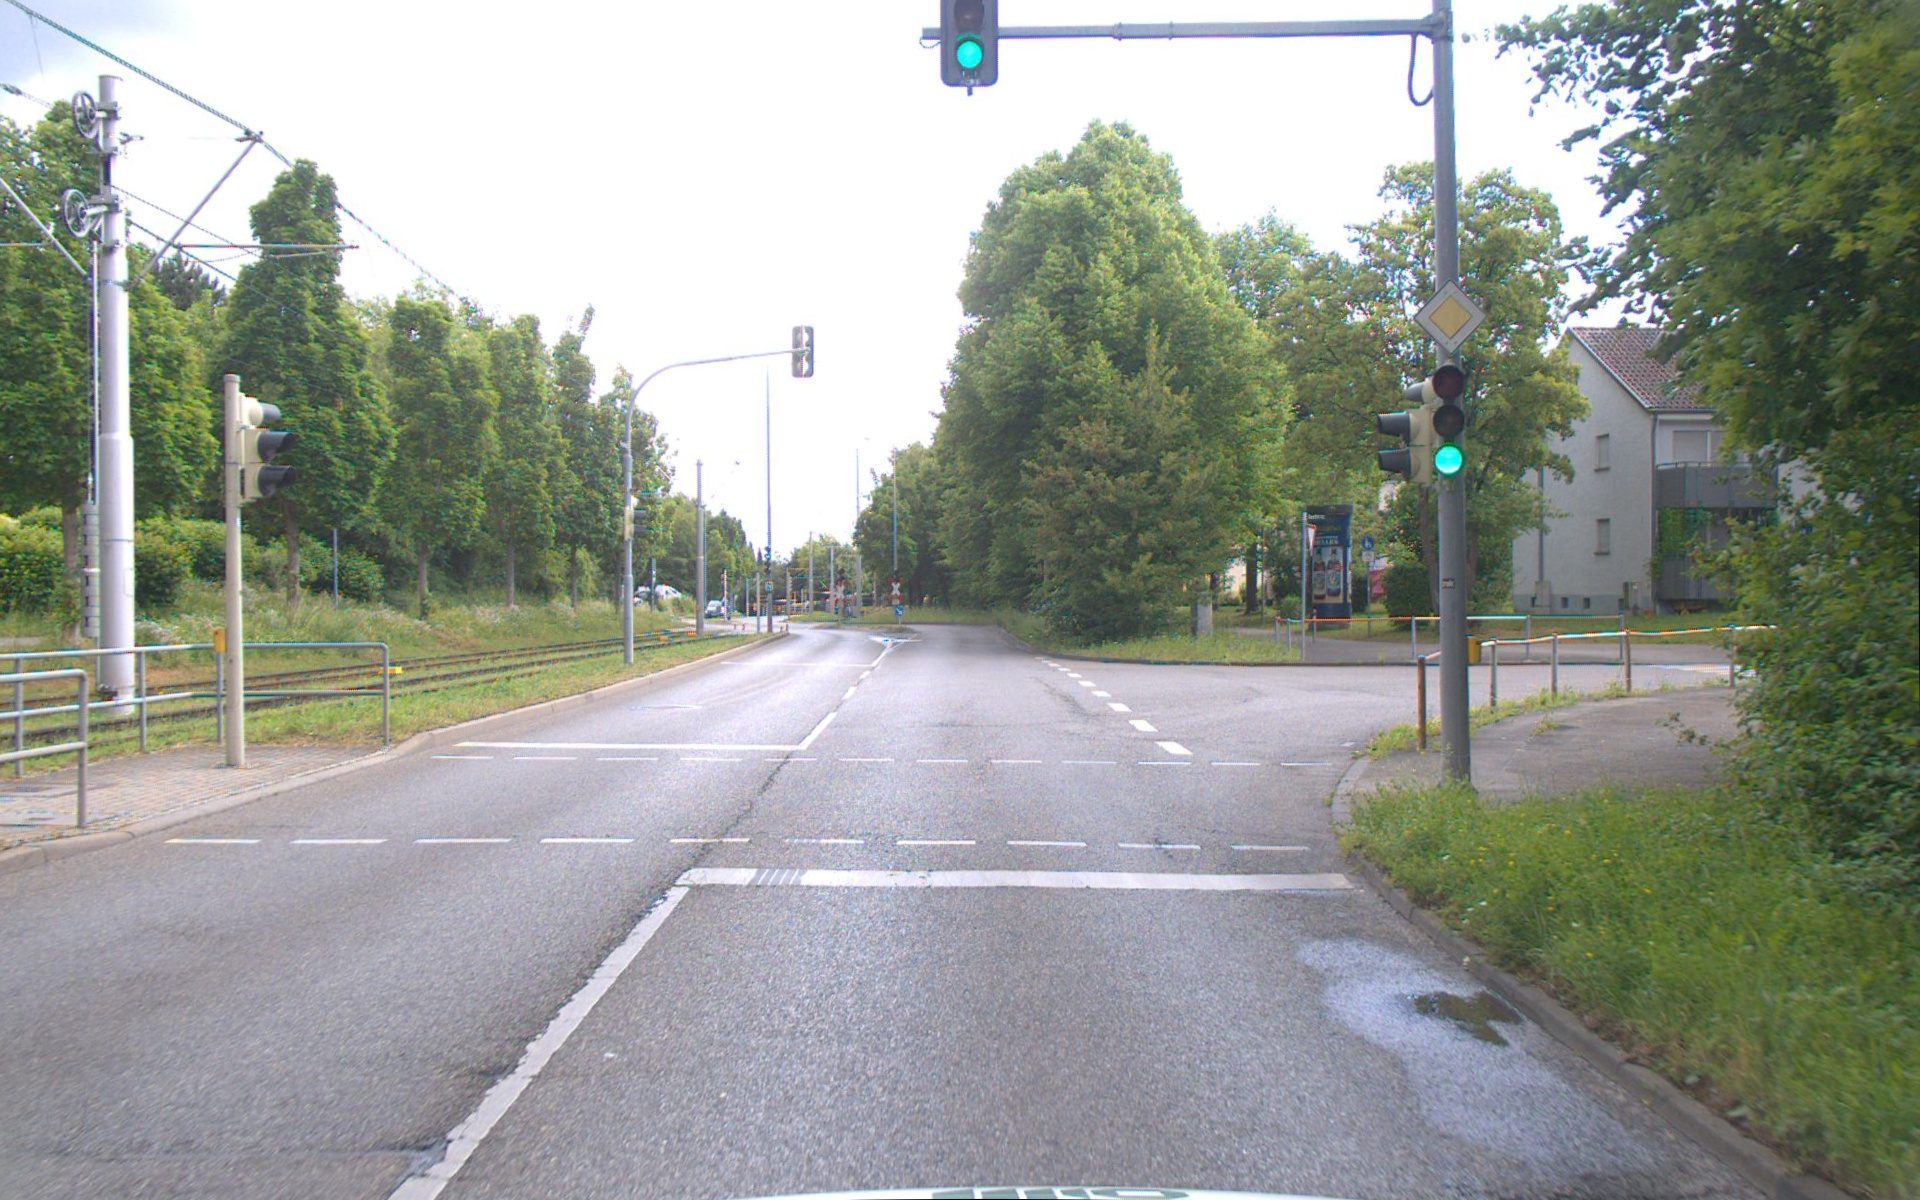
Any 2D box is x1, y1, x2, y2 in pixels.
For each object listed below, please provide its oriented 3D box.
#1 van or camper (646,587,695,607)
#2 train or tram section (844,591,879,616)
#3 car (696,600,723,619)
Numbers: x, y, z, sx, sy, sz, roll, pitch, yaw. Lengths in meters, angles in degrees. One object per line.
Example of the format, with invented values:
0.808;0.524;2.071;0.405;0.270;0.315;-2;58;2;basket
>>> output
-32.231;-0.336;184.311;5.228;2.241;1.998;1;0;-5;van or camper
-14.700;0.632;244.978;2.950;3.369;34.653;1;0;-7;train or tram section
-21.261;0.775;140.386;1.830;1.547;4.236;1;0;-3;car
